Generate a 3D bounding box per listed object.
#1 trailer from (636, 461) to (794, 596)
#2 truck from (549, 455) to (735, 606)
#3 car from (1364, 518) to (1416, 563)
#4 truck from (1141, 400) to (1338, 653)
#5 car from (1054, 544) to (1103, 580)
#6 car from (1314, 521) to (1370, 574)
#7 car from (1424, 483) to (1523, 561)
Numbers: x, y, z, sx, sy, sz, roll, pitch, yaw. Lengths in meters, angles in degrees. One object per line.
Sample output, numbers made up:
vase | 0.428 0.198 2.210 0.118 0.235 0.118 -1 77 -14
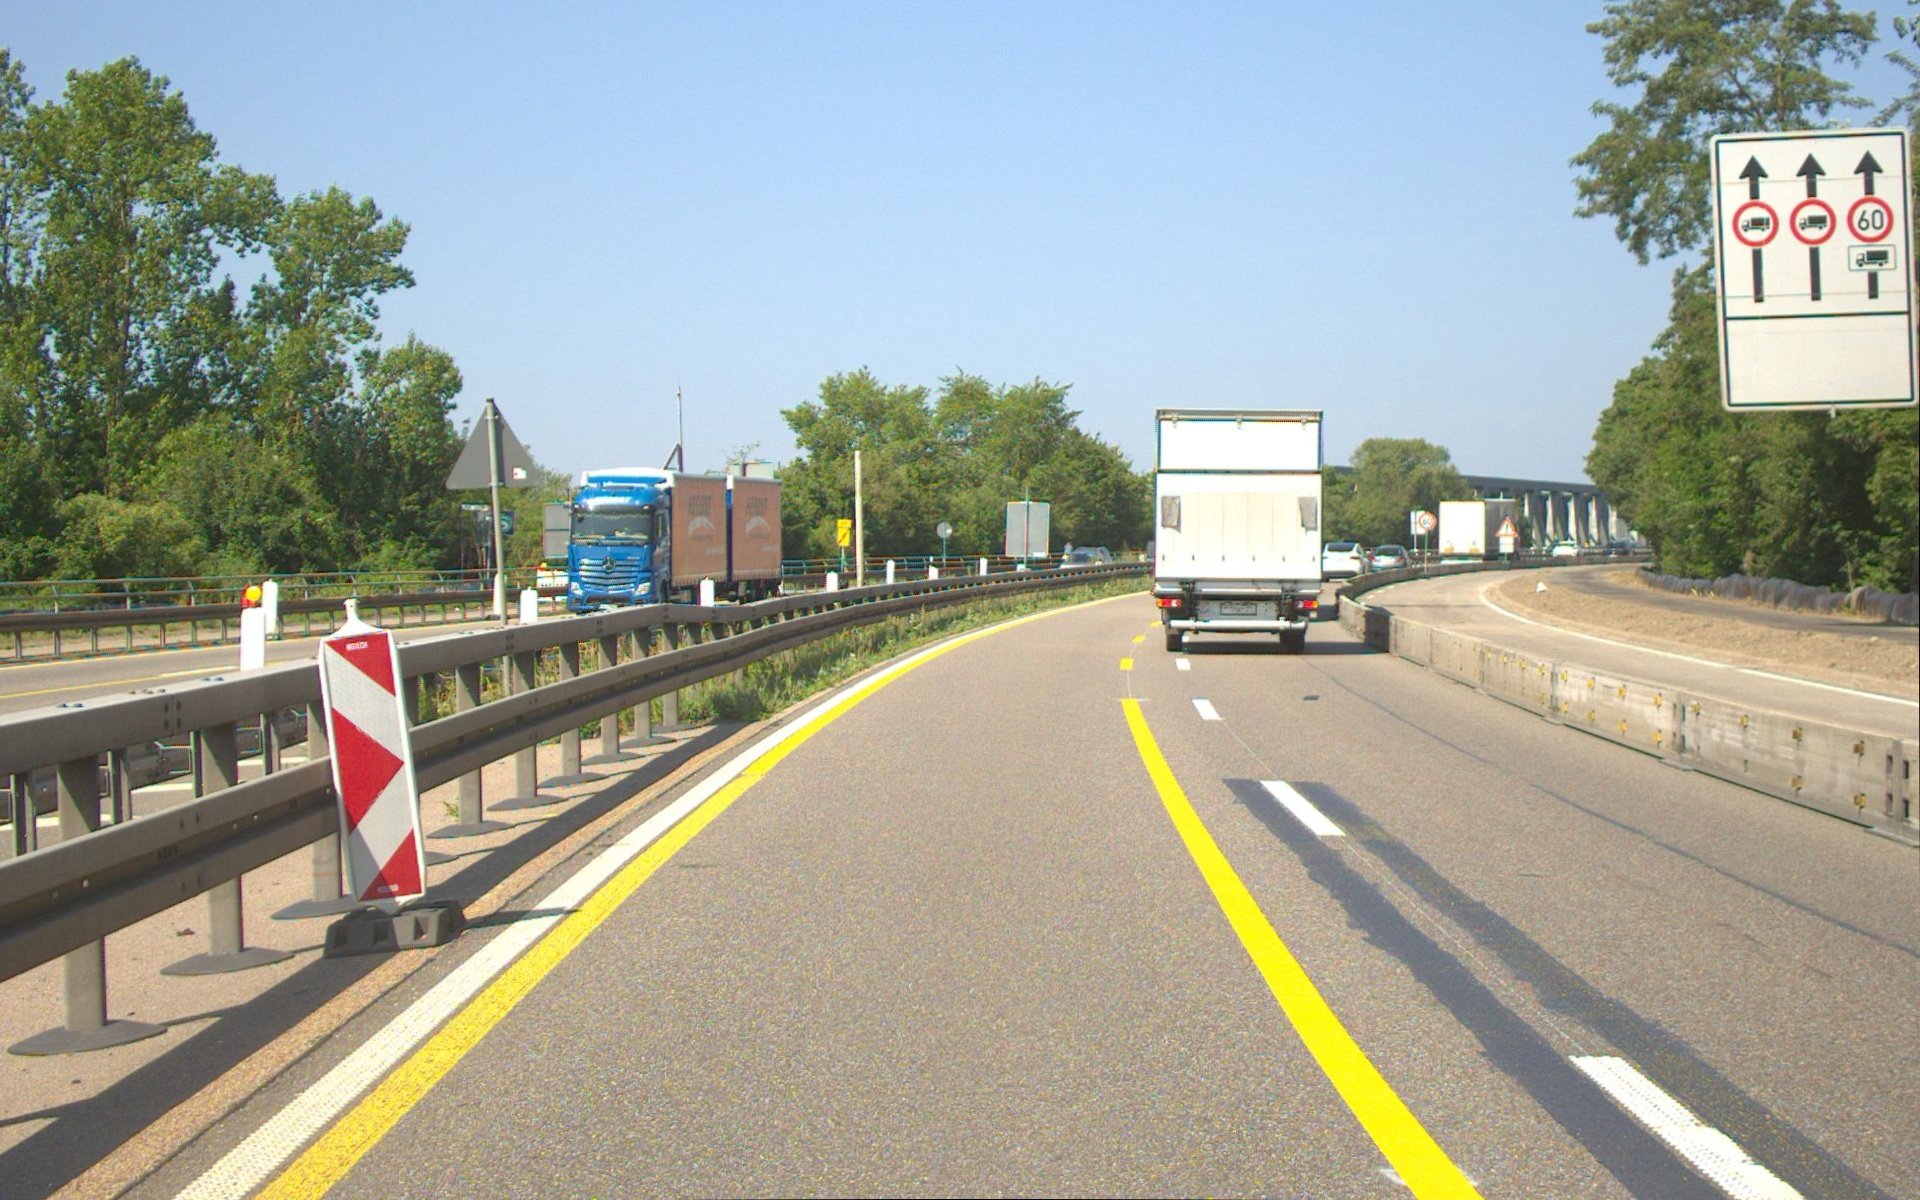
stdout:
trailer | -7.651 -2.288 109.017 3.039 4.077 9.786 1 1 8
truck | -9.001 -2.019 98.868 3.038 4.077 10.621 1 1 7
car | 20.242 -2.823 161.825 1.994 2.007 3.998 -2 1 12
truck | 4.014 -1.094 50.640 2.634 3.415 7.232 1 1 3
car | 5.737 -1.843 166.013 1.910 1.645 4.375 -1 1 8
car | 15.484 -2.141 139.217 1.994 2.007 3.999 -2 1 9
car | 29.805 -4.550 199.068 4.210 4.237 10.654 -2 1 16
